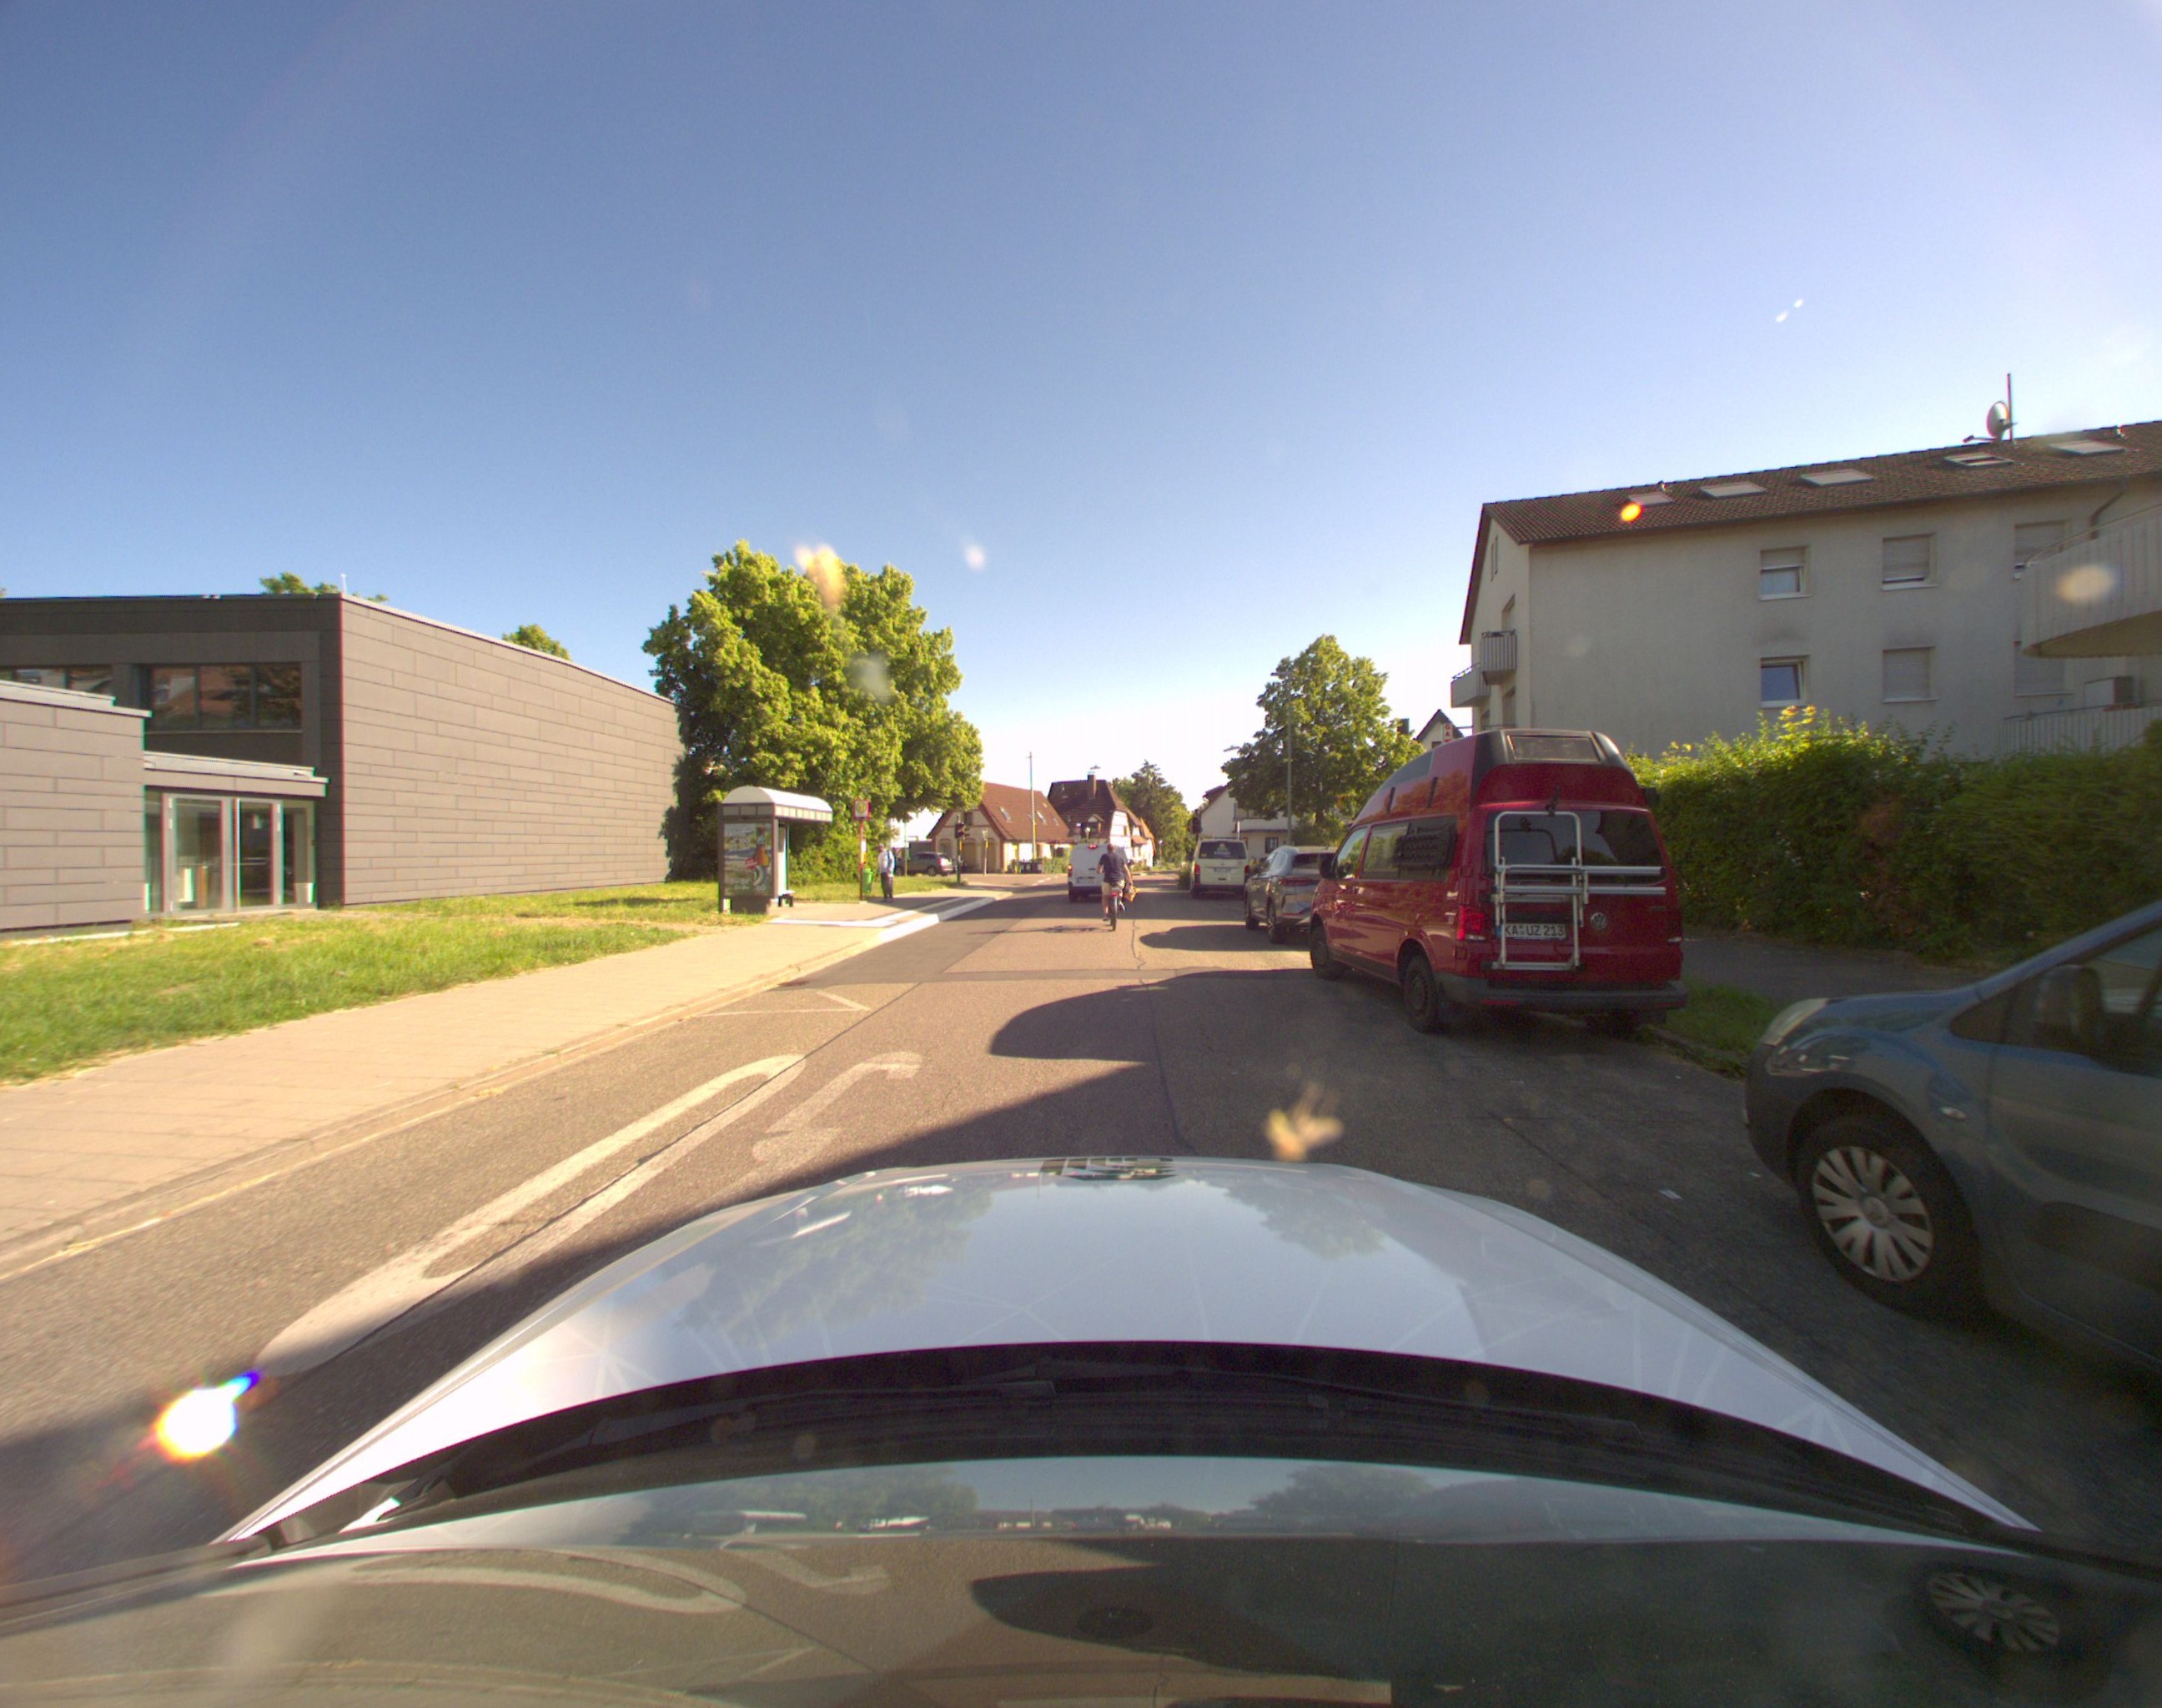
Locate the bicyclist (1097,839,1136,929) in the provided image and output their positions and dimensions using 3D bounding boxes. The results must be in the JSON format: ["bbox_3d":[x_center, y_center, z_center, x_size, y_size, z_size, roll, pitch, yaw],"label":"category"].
[{"bbox_3d":[0.724,0.602,16.792,0.762,1.789,0.853,0,0,0],"label":"bicyclist"}]

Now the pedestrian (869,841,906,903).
[{"bbox_3d":[-5.868,0.531,24.675,0.709,1.802,0.775,2,1,28],"label":"pedestrian"}]

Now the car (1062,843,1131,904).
[{"bbox_3d":[0.614,0.564,27.095,1.948,1.848,4.566,-1,1,5],"label":"car"}]

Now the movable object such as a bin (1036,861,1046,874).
[{"bbox_3d":[-2.971,0.999,60.168,0.551,0.924,0.629,0,0,22],"label":"movable object such as a bin"}]

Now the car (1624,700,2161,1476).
[{"bbox_3d":[3.503,0.581,1.674,1.850,1.848,4.563,2,0,2],"label":"car"}]

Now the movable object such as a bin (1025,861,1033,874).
[{"bbox_3d":[-3.856,0.986,60.516,0.408,0.906,0.629,0,1,22],"label":"movable object such as a bin"}]

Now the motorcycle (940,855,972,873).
[{"bbox_3d":[-9.420,0.760,61.347,2.222,1.295,0.887,-1,2,23],"label":"motorcycle"}]

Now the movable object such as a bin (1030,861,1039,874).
[{"bbox_3d":[-3.445,0.973,60.356,0.407,0.924,0.629,0,0,22],"label":"movable object such as a bin"}]

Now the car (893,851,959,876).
[{"bbox_3d":[-11.028,0.661,57.917,4.183,1.725,1.956,0,-1,23],"label":"car"}]

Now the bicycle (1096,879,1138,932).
[{"bbox_3d":[0.720,1.022,16.818,0.772,0.940,2.291,-1,0,0],"label":"bicycle"}]

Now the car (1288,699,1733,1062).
[{"bbox_3d":[3.814,0.186,8.579,1.951,2.644,5.223,1,0,0],"label":"car"}]

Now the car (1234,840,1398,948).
[{"bbox_3d":[4.246,0.648,15.528,1.949,1.738,4.579,0,0,2],"label":"car"}]

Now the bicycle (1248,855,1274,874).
[{"bbox_3d":[12.260,0.691,55.452,1.725,1.284,0.702,0,-1,12],"label":"bicycle"}]

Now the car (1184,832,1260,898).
[{"bbox_3d":[4.748,0.376,28.094,1.986,2.079,4.580,0,-1,2],"label":"car"}]

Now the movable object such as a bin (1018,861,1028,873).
[{"bbox_3d":[-4.327,0.973,60.738,0.503,0.924,0.629,0,0,22],"label":"movable object such as a bin"}]

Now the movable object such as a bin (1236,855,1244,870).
[{"bbox_3d":[11.780,0.627,60.272,0.523,1.123,0.751,0,0,14],"label":"movable object such as a bin"}]
